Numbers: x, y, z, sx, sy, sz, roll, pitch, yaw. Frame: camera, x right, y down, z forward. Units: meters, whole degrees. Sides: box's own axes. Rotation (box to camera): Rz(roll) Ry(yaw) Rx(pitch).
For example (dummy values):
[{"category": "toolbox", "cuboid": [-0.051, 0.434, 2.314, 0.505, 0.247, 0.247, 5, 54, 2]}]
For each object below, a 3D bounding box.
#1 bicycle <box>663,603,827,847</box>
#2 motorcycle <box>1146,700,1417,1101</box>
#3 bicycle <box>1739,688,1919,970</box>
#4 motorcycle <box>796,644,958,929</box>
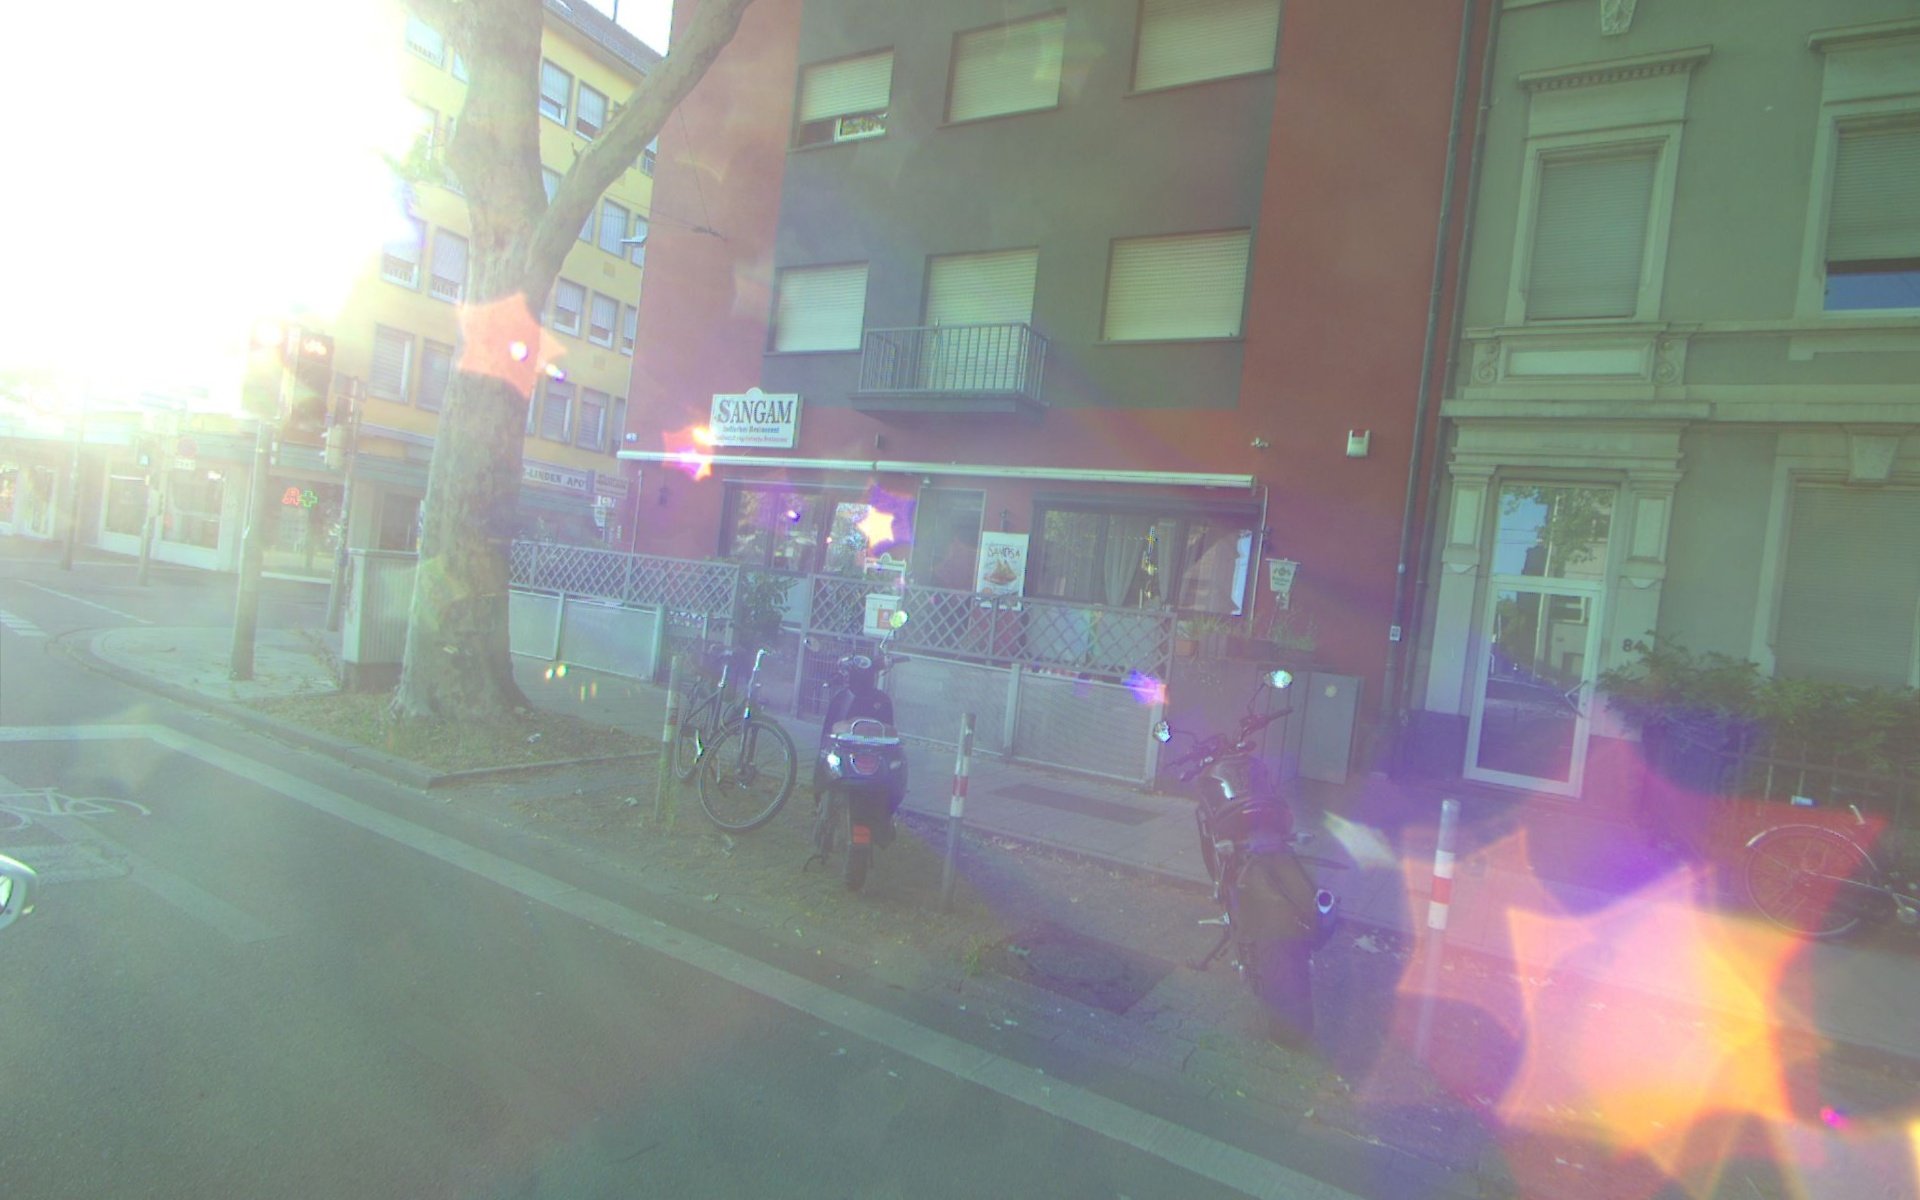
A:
[{"category": "bicycle", "cuboid": [-1.492, 0.744, 6.678, 0.686, 1.219, 1.837, 8, 2, -20]}, {"category": "motorcycle", "cuboid": [1.318, 1.154, 4.618, 0.752, 1.077, 2.212, 7, 2, 9]}, {"category": "bicycle", "cuboid": [5.866, 1.375, 5.505, 2.356, 1.443, 0.608, 6, -1, 32]}, {"category": "motorcycle", "cuboid": [-0.542, 0.918, 5.653, 0.591, 1.166, 1.994, 6, 0, -10]}]
